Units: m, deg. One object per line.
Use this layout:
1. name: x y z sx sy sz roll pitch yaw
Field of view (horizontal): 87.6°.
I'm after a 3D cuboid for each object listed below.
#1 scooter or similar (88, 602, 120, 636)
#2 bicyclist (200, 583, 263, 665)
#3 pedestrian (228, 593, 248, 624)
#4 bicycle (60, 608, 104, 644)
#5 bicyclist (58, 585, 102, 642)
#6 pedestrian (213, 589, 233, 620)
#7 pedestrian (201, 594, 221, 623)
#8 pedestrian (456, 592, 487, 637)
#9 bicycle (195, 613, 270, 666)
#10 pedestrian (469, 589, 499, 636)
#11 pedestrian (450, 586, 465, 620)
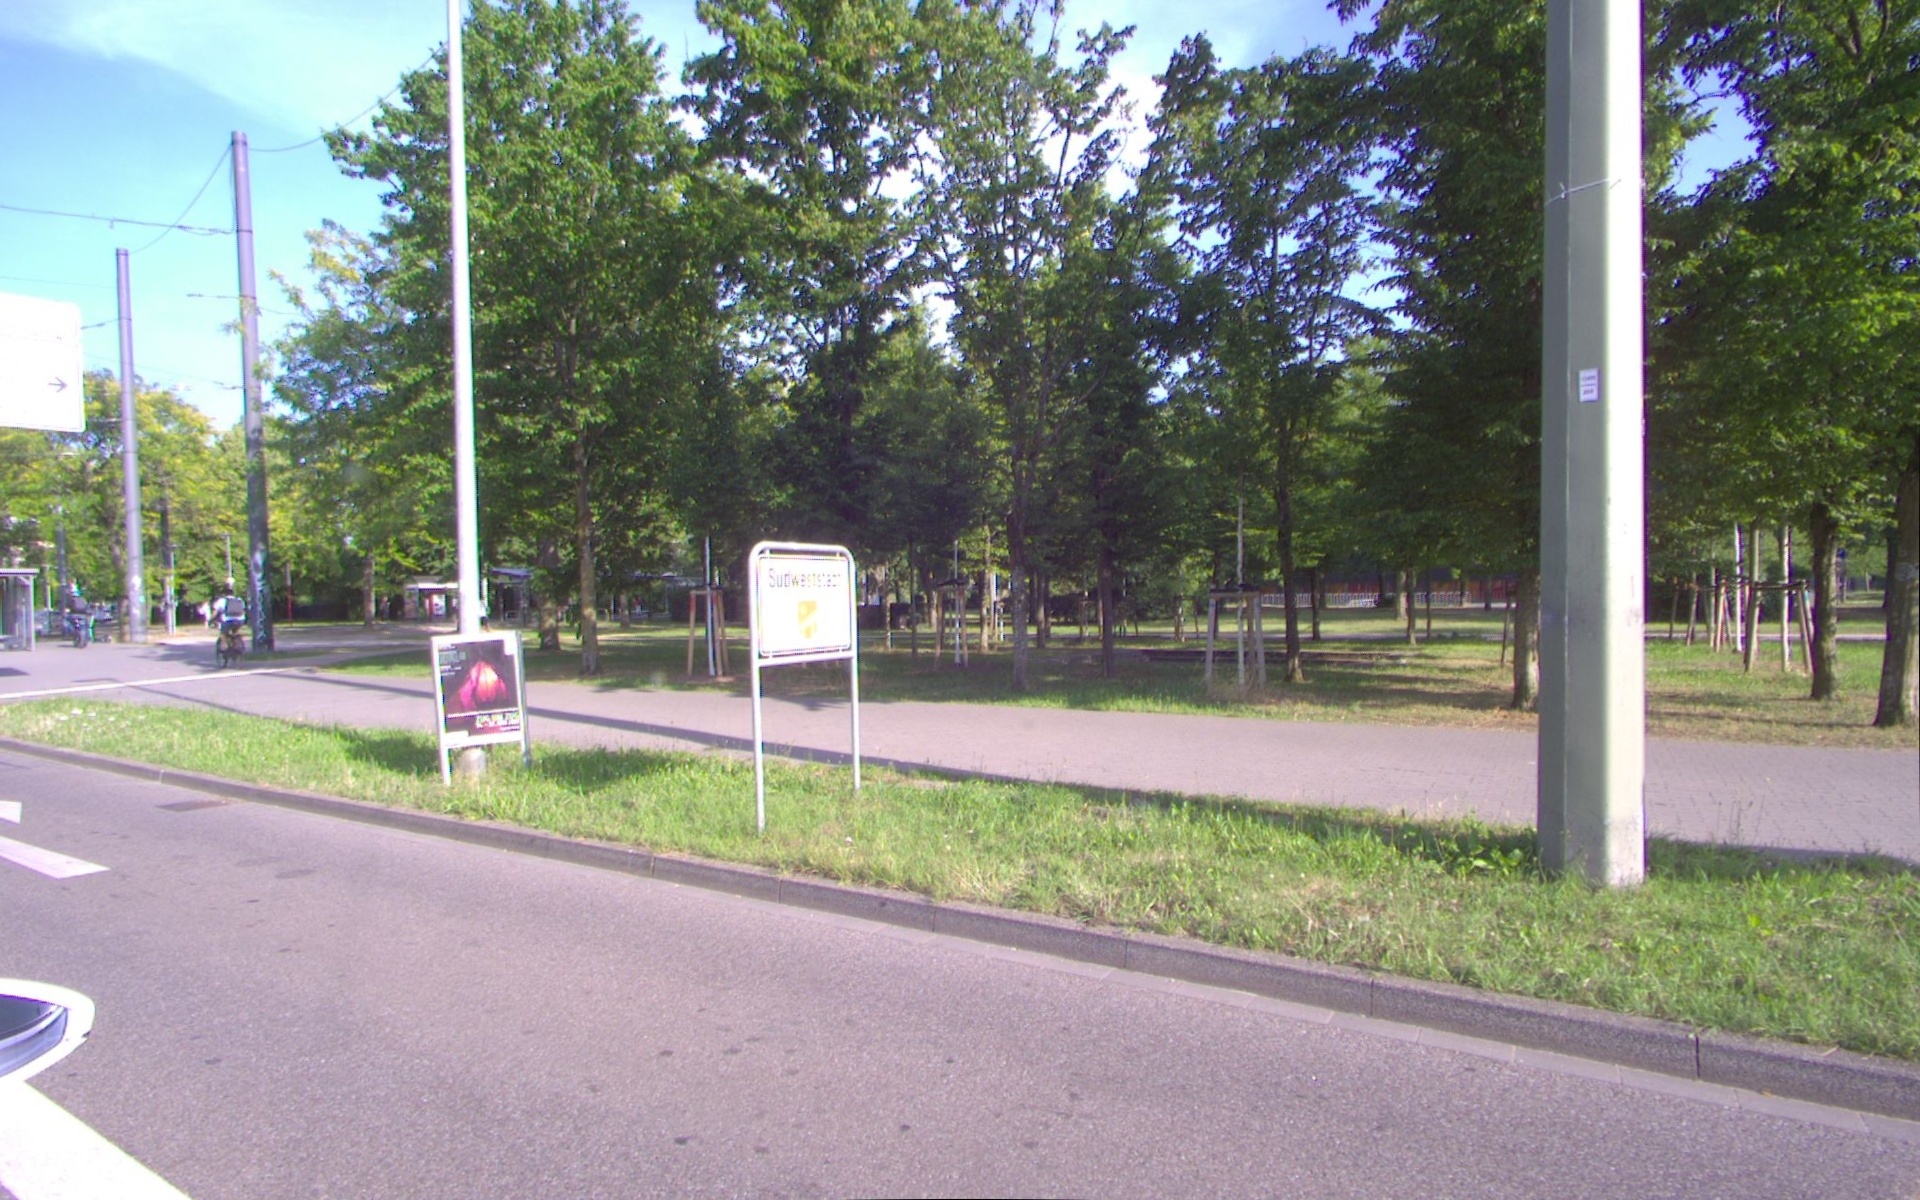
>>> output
1. scooter or similar: -31.410 0.703 36.743 1.115 1.248 0.351 -1 1 18
2. bicyclist: -16.341 0.531 22.455 1.123 1.770 0.647 -1 4 31
3. pedestrian: -39.771 0.444 55.167 0.681 1.687 0.639 0 1 32
4. bicycle: -28.412 0.830 32.398 1.711 1.103 0.638 0 3 36
5. bicyclist: -28.423 0.433 32.352 1.125 1.770 0.717 0 4 36
6. pedestrian: -40.885 0.265 55.569 0.681 1.687 0.639 0 1 32
7. pedestrian: -41.735 0.470 55.785 0.681 1.632 0.639 0 1 32
8. pedestrian: -19.739 0.595 40.489 0.863 1.800 0.673 0 -1 13
9. bicycle: -16.348 0.875 22.485 1.912 1.103 0.639 -1 3 32
10. pedestrian: -19.622 0.506 41.271 0.864 1.922 0.672 0 -1 16
11. pedestrian: -28.425 0.162 56.636 0.594 1.891 0.462 0 -1 1
